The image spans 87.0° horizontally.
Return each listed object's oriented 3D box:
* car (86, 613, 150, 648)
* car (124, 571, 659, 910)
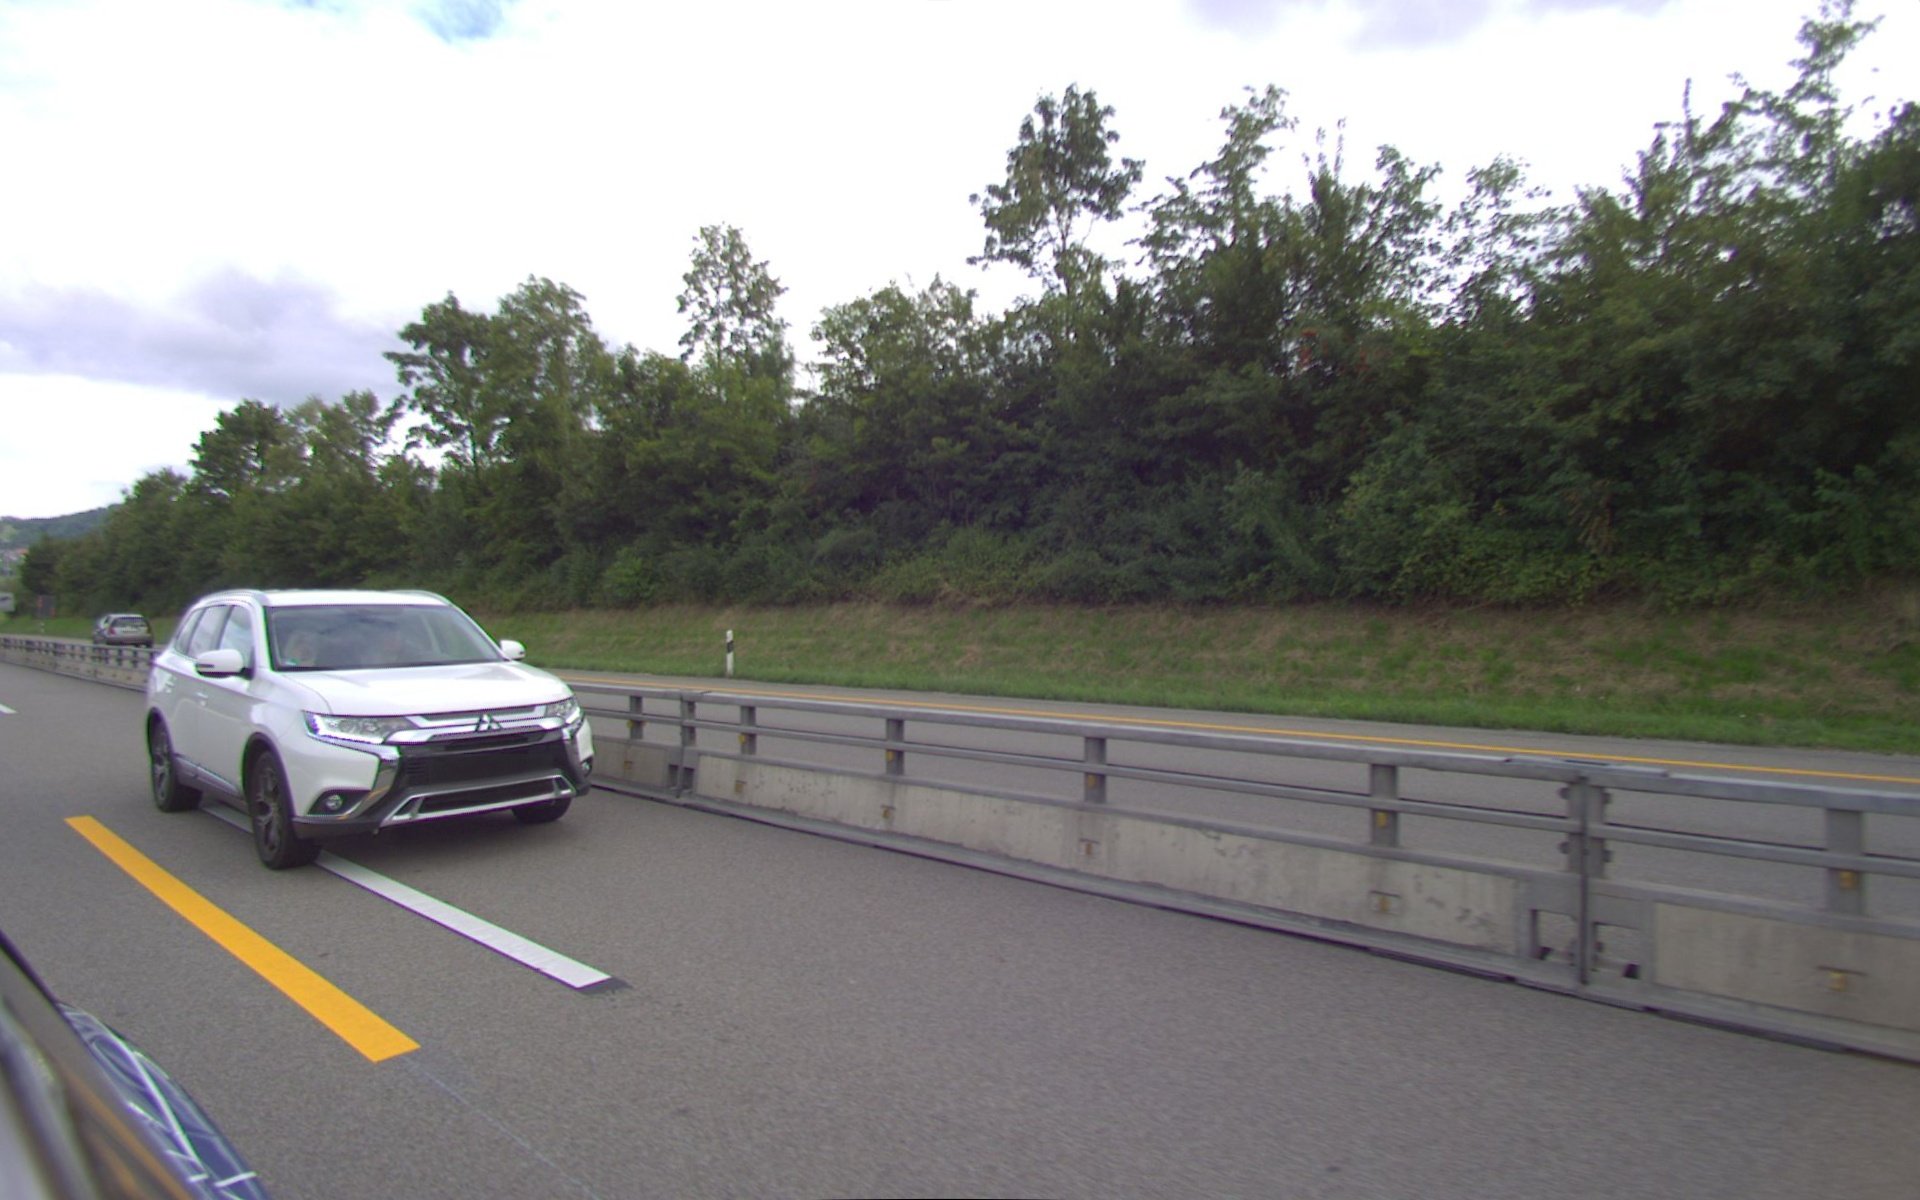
[{"bbox_3d":[-39.171,1.394,47.063,3.948,1.562,1.664,-1,-2,41],"label":"car"},{"bbox_3d":[-4.261,0.721,7.207,4.606,1.640,1.972,-1,-1,42],"label":"car"}]
